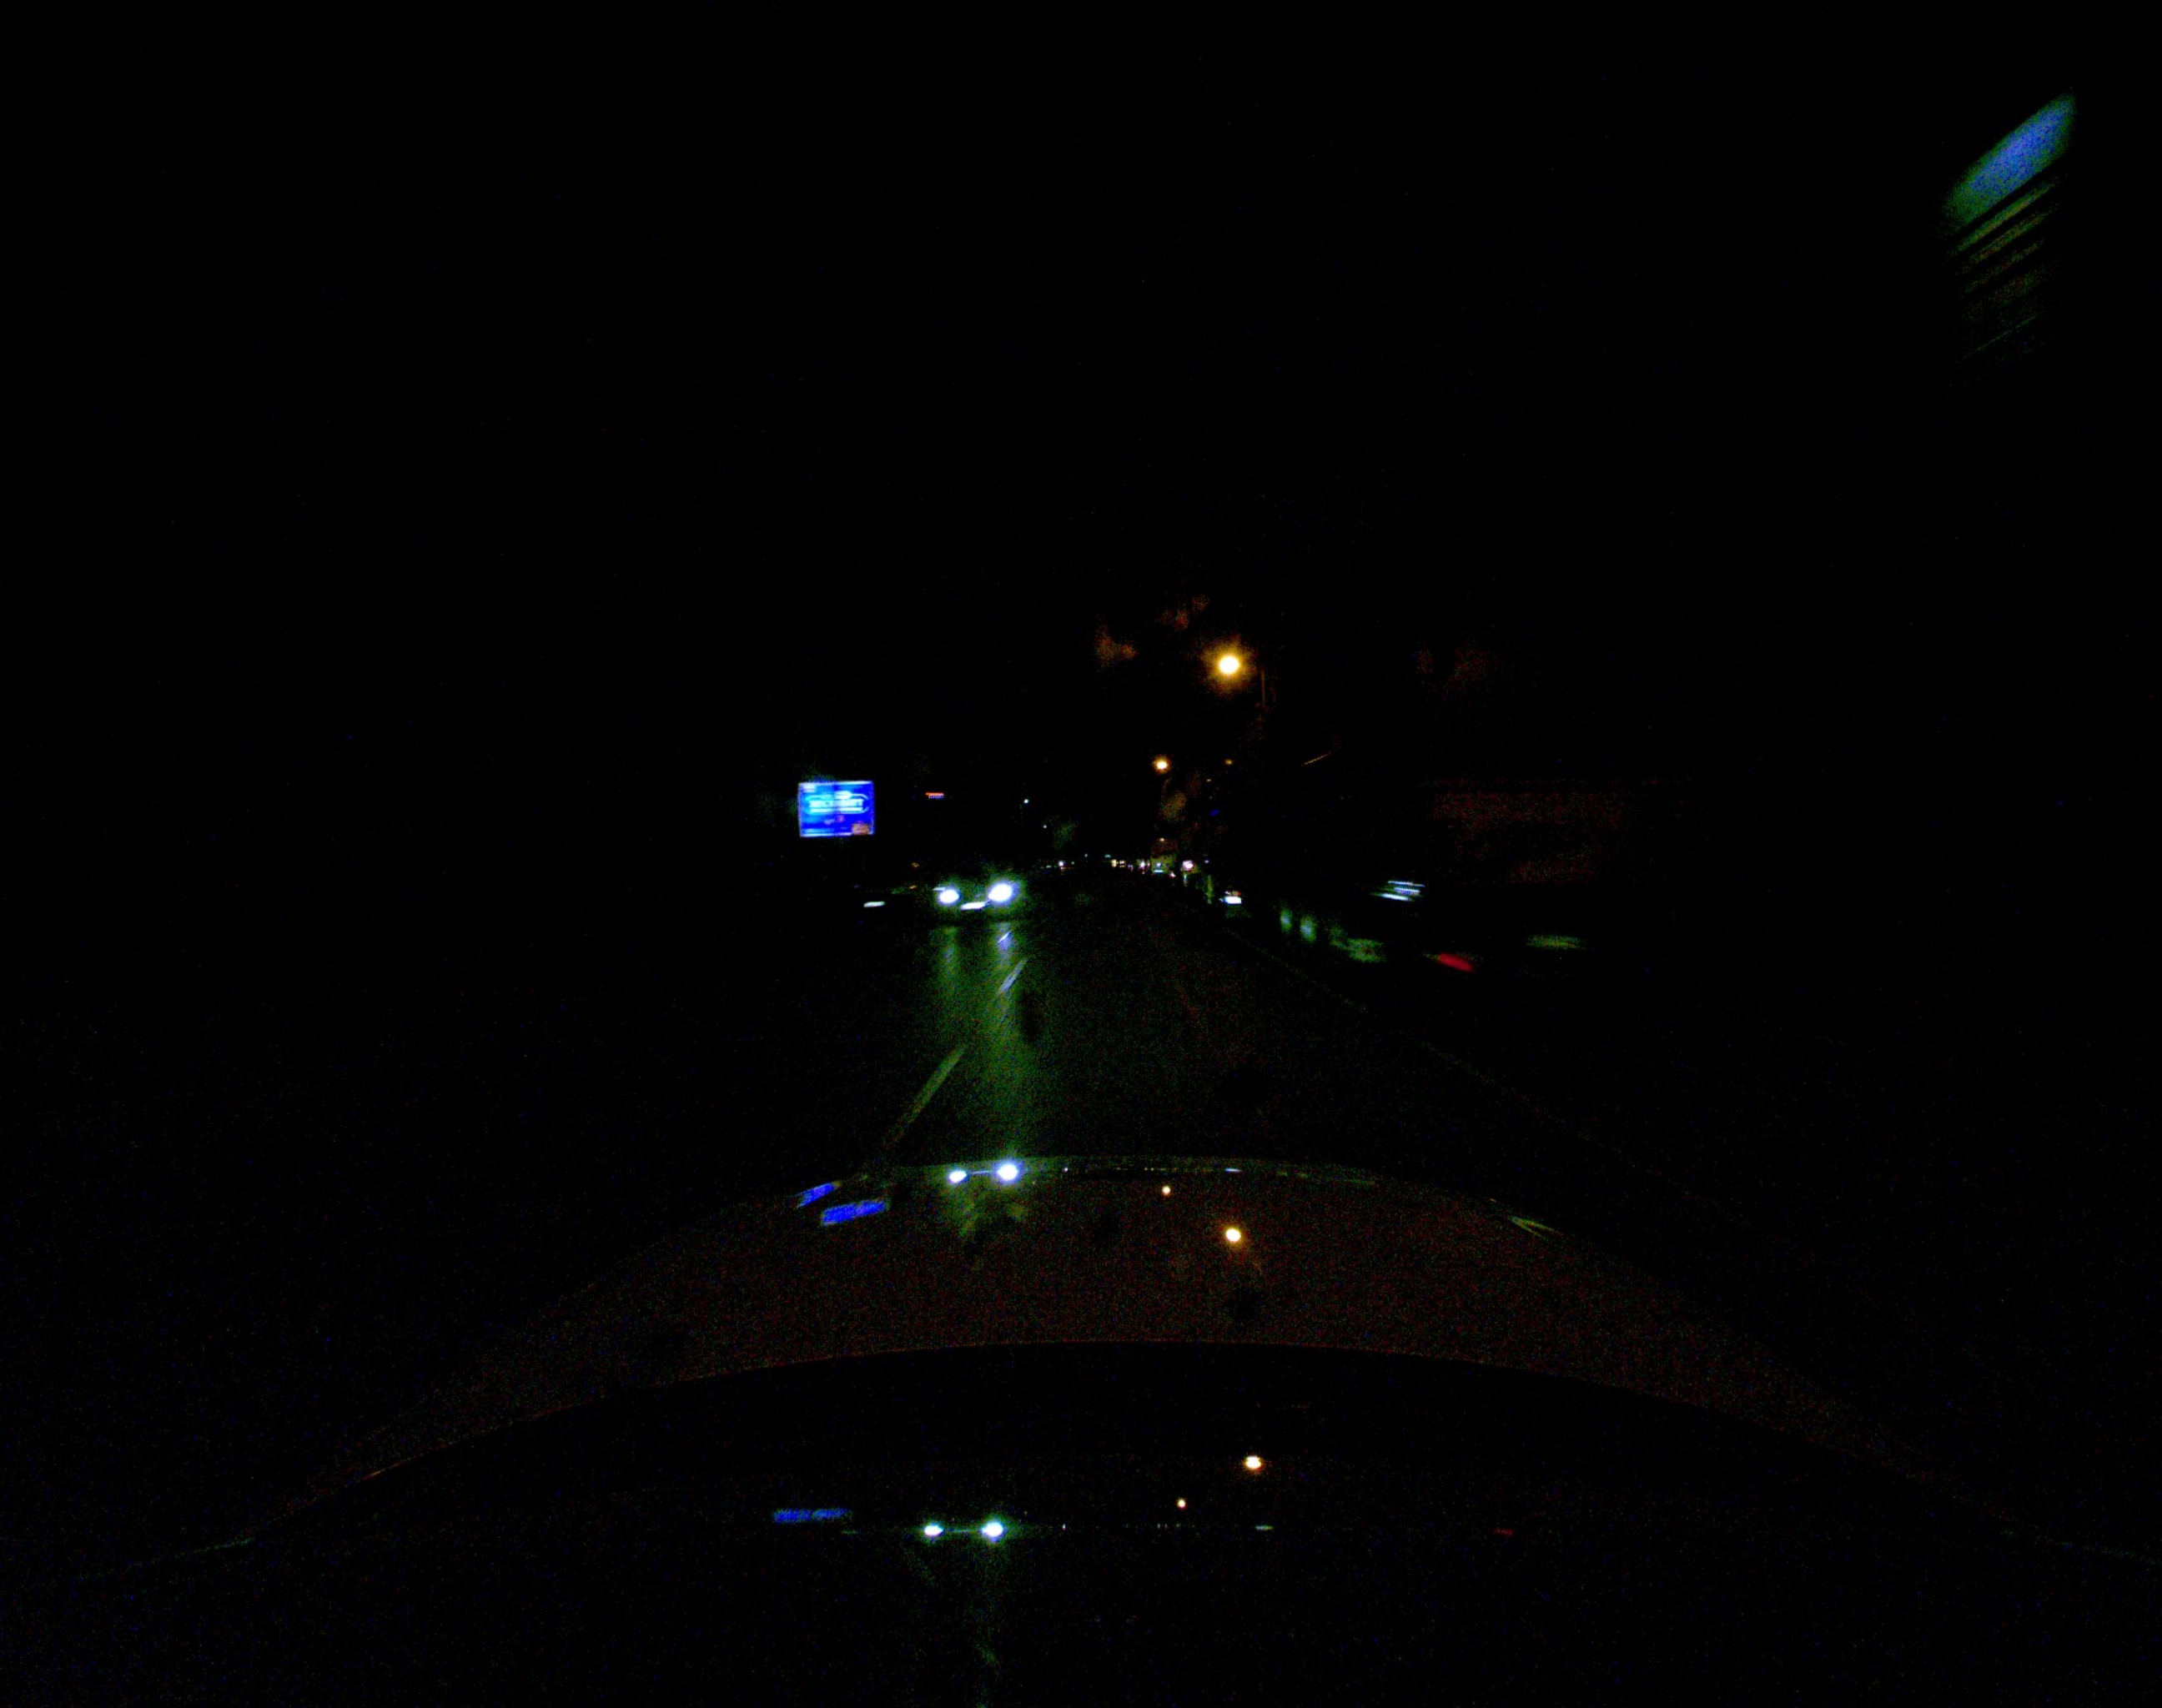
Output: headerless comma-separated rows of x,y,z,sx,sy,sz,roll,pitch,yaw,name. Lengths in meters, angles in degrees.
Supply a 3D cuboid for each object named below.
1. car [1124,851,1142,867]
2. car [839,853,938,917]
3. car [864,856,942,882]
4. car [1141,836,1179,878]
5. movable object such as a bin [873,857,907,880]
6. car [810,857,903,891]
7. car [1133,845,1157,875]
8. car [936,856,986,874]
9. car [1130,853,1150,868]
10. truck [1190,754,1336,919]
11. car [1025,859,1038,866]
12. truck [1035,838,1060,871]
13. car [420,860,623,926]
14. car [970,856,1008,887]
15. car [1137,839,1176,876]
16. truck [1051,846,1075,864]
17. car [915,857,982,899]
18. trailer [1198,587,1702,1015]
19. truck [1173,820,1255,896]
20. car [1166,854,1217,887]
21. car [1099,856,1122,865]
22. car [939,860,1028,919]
6.749,0.643,105.878,1.986,2.013,4.913,-2,0,1,car
-6.000,0.909,26.019,1.797,1.799,4.880,-2,0,2,car
-11.040,0.931,50.505,4.426,1.440,1.777,-2,-1,-28,car
5.120,0.193,53.234,1.986,2.571,6.015,1,0,1,car
-12.830,0.979,54.816,1.850,1.500,1.610,-1,0,1,movable object such as a bin
-11.671,1.017,42.348,4.420,1.560,1.984,-2,0,-23,car
5.775,0.507,73.933,1.985,2.526,5.915,1,0,4,car
-11.066,1.005,75.278,4.095,1.432,1.906,3,1,19,car
6.270,0.702,86.838,1.938,1.489,5.015,-2,0,4,car
4.512,-0.379,21.271,2.755,3.764,5.230,0,-1,2,truck
-10.067,1.670,165.441,1.818,1.371,4.336,-2,0,-16,car
-4.158,0.070,103.709,2.738,4.034,9.557,-1,0,-1,truck
-15.673,1.063,22.960,4.381,1.653,1.924,-2,0,3,car
-5.738,1.065,51.134,1.807,1.849,4.414,-2,0,0,car
5.483,0.255,59.838,2.122,2.571,5.906,1,0,-1,car
-4.167,0.271,185.852,2.764,3.783,9.076,-2,0,-19,truck
-5.904,1.018,36.940,1.939,1.688,4.820,-2,0,3,car
4.297,-0.414,14.517,2.755,3.764,14.661,0,0,2,trailer
4.980,0.138,31.550,2.391,2.594,6.602,-1,0,3,truck
5.150,0.742,38.549,1.823,1.407,4.909,1,0,1,car
6.031,1.307,168.685,4.342,1.646,1.879,-4,1,-21,car
-2.645,0.927,23.148,1.813,1.437,4.400,-2,0,2,car
